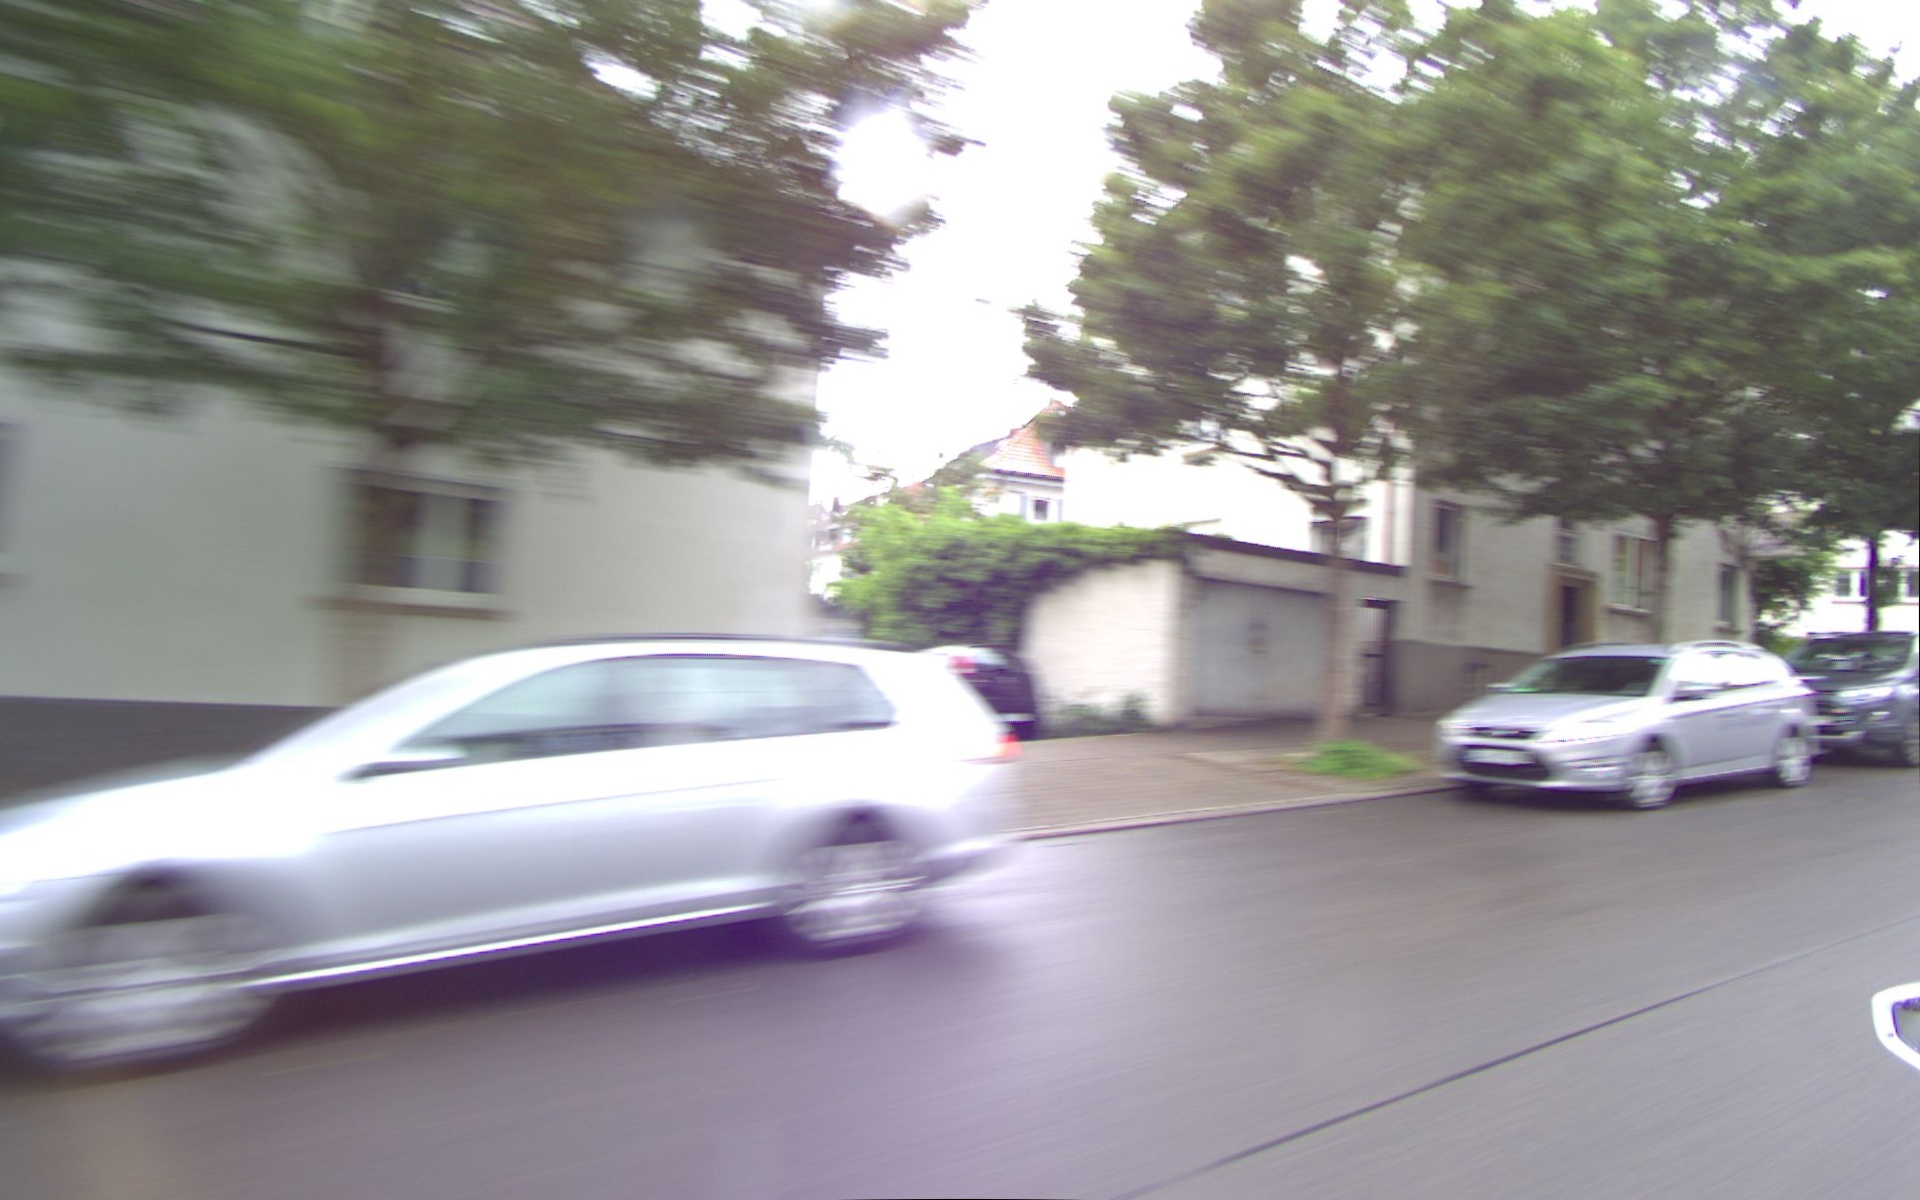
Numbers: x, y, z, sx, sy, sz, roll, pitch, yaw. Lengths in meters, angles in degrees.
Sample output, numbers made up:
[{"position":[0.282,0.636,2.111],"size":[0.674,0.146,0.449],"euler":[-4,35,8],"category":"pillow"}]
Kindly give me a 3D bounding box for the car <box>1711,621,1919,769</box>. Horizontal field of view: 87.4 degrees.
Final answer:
[{"position":[12.002,1.185,13.321],"size":[4.090,1.648,1.796],"euler":[2,-1,-30],"category":"car"}]

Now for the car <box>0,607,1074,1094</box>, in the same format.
[{"position":[-1.809,0.873,4.778],"size":[4.544,1.472,1.796],"euler":[2,-4,-31],"category":"car"}]

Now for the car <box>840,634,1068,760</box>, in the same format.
[{"position":[-0.218,1.602,16.008],"size":[1.781,1.561,3.674],"euler":[2,-11,-35],"category":"car"}]

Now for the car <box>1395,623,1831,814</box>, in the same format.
[{"position":[6.768,1.148,10.295],"size":[4.744,1.572,1.797],"euler":[3,-4,-30],"category":"car"}]
